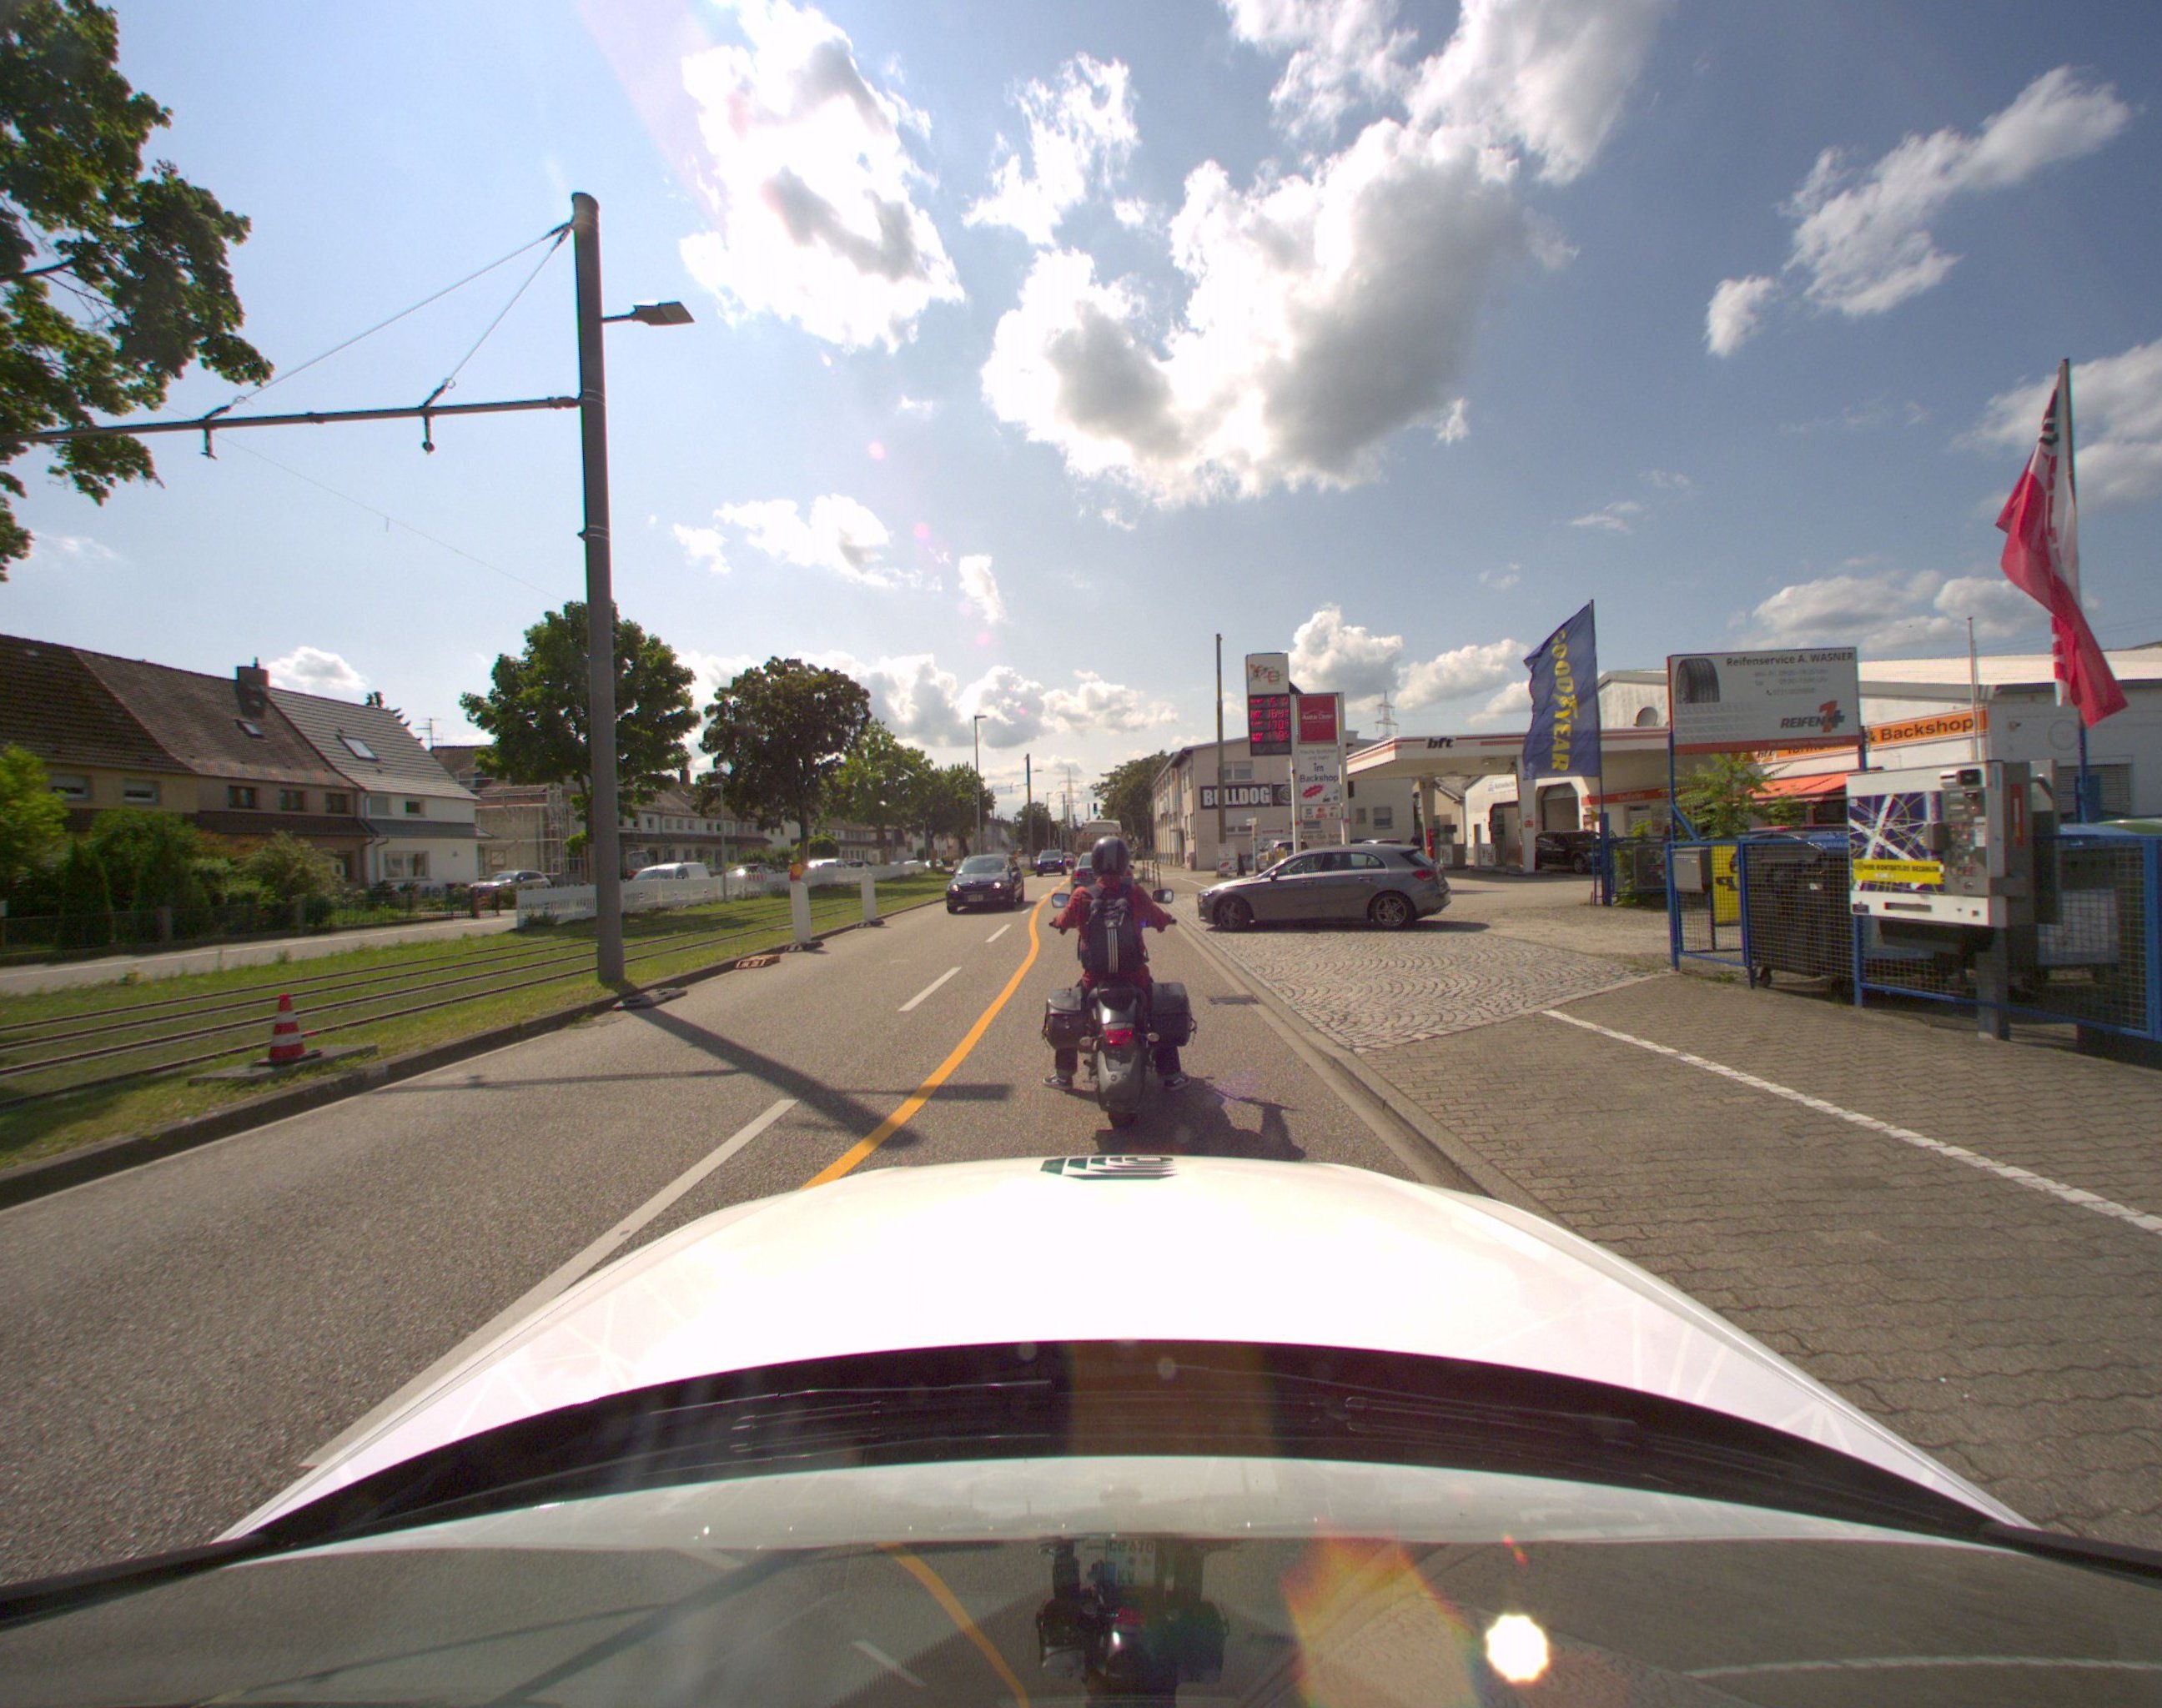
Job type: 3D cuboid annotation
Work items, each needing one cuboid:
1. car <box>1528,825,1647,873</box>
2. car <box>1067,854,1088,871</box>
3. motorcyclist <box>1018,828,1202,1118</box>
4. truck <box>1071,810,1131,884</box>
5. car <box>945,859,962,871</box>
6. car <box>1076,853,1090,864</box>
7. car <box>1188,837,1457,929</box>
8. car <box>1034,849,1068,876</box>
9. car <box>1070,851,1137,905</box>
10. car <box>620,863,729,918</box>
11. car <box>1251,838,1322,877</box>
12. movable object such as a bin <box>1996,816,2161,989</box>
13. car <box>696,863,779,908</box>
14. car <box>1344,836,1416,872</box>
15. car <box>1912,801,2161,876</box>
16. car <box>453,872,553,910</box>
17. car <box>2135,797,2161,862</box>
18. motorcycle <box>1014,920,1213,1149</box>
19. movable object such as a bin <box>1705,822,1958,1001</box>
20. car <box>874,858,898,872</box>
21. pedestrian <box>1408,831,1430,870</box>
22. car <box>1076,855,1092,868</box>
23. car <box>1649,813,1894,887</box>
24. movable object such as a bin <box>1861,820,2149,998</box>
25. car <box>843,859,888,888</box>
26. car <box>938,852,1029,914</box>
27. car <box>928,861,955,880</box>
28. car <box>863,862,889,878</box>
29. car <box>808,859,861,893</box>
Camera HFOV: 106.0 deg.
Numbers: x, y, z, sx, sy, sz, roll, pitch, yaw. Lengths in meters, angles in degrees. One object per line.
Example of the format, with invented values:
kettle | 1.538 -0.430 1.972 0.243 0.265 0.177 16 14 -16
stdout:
car | 17.928 -0.179 29.037 1.800 1.503 3.833 -2 0 0
car | -0.285 0.775 78.879 1.816 1.452 4.326 -3 0 2
motorcyclist | 0.182 0.672 5.148 0.975 1.602 1.088 -2 0 1
truck | 1.057 -0.354 41.342 2.628 3.296 8.059 -2 0 2
car | -19.635 1.635 125.923 1.769 1.722 4.130 -2 0 2
car | 0.252 0.655 117.036 1.816 1.452 4.326 -3 0 2
car | 4.235 0.511 14.455 4.231 1.415 1.684 -2 0 30
car | -1.949 0.540 54.095 1.816 1.602 4.326 -3 0 2
car | 0.681 0.660 24.306 1.816 1.452 4.002 0 0 2
car | -15.424 1.312 31.162 1.769 1.821 4.366 -2 0 2
car | 9.117 0.148 36.460 1.665 1.562 4.235 -2 0 -6
movable object such as a bin | 9.488 0.371 7.138 1.397 1.396 1.338 -2 0 1
car | -15.408 1.381 36.773 1.769 1.774 4.230 -2 0 2
car | 13.477 -0.010 36.927 1.800 1.503 3.832 -2 0 -1
car | 21.524 -0.343 18.173 4.180 1.463 1.587 -2 0 2
car | -27.486 1.725 38.902 1.769 1.519 4.002 -2 0 2
car | 26.528 -0.639 18.010 4.180 1.463 1.587 -2 0 2
motorcycle | 0.206 1.021 5.452 0.975 0.897 2.654 -2 0 2
movable object such as a bin | 6.691 0.475 7.366 1.104 1.436 1.244 -2 0 1
car | -25.161 1.401 105.210 1.769 1.722 4.130 -2 0 2
pedestrian | 14.653 -0.134 35.326 0.701 1.656 0.551 -2 0 37
car | 0.378 0.934 103.975 1.816 1.452 4.326 -3 0 2
car | 15.776 -0.091 18.765 4.180 1.463 1.587 -2 0 2
movable object such as a bin | 8.085 0.441 7.226 1.104 1.396 1.244 -2 0 1
car | -14.801 1.333 56.109 1.769 1.805 4.130 -2 0 2
car | -2.590 0.728 22.650 1.816 1.452 4.326 -3 0 2
car | -13.729 1.630 80.461 1.769 1.722 4.130 -2 0 2
car | -24.389 1.838 97.049 1.769 1.722 4.130 -2 0 2
car | -15.060 1.325 49.944 1.769 1.867 4.130 -2 0 2
